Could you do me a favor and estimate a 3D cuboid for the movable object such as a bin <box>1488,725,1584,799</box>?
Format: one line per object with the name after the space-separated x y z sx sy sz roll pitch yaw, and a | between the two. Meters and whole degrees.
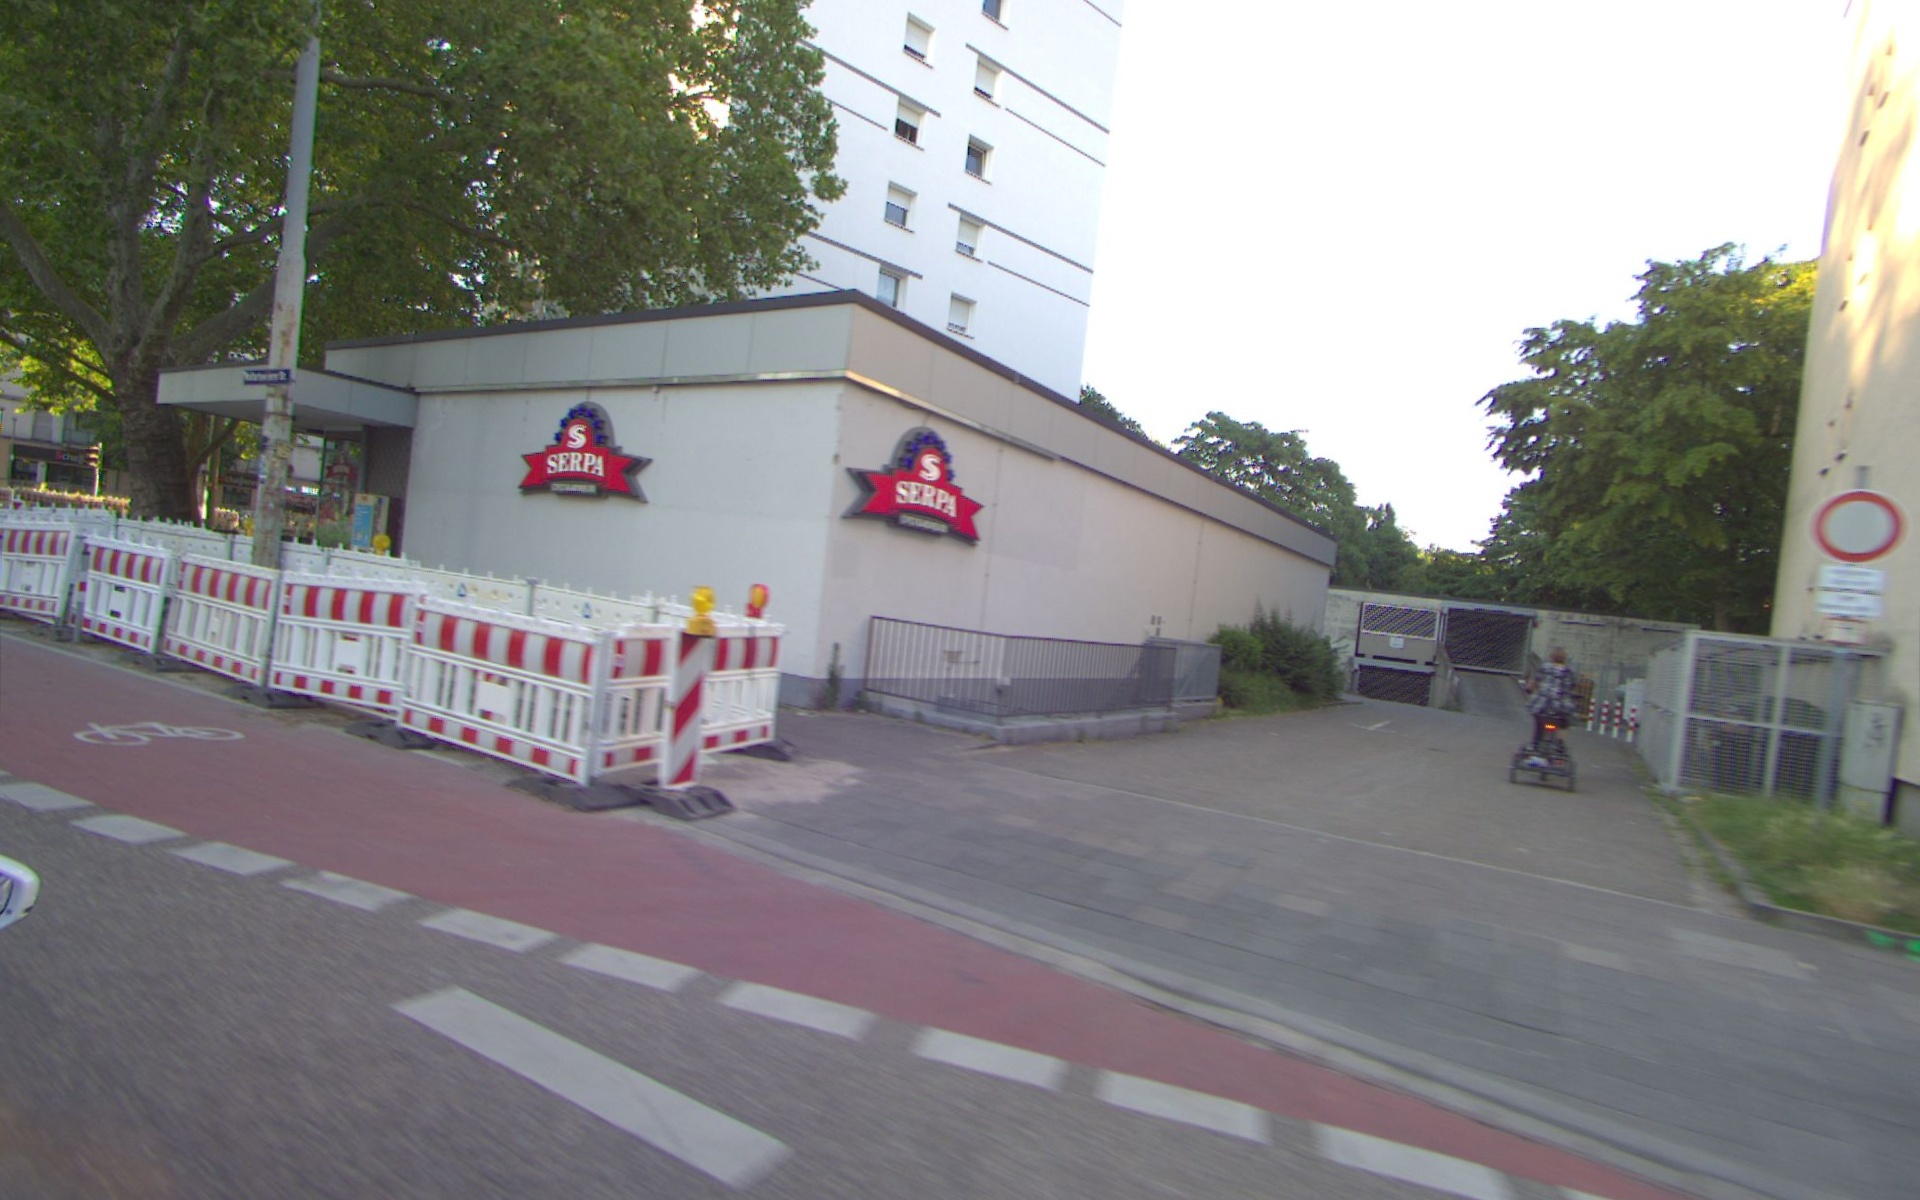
7.308 2.032 12.756 0.927 0.698 0.990 7 1 34 | movable object such as a bin

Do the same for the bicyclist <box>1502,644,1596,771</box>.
8.299 1.478 14.153 0.927 1.602 1.143 7 2 34 | bicyclist

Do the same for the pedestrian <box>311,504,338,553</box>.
-24.519 -2.747 38.810 0.711 1.780 0.656 6 1 -37 | pedestrian

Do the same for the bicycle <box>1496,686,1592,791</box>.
8.245 1.882 14.147 0.927 1.187 2.352 7 1 33 | bicycle

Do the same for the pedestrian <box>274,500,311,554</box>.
-23.650 -2.598 35.653 0.704 1.780 0.663 7 1 13 | pedestrian
